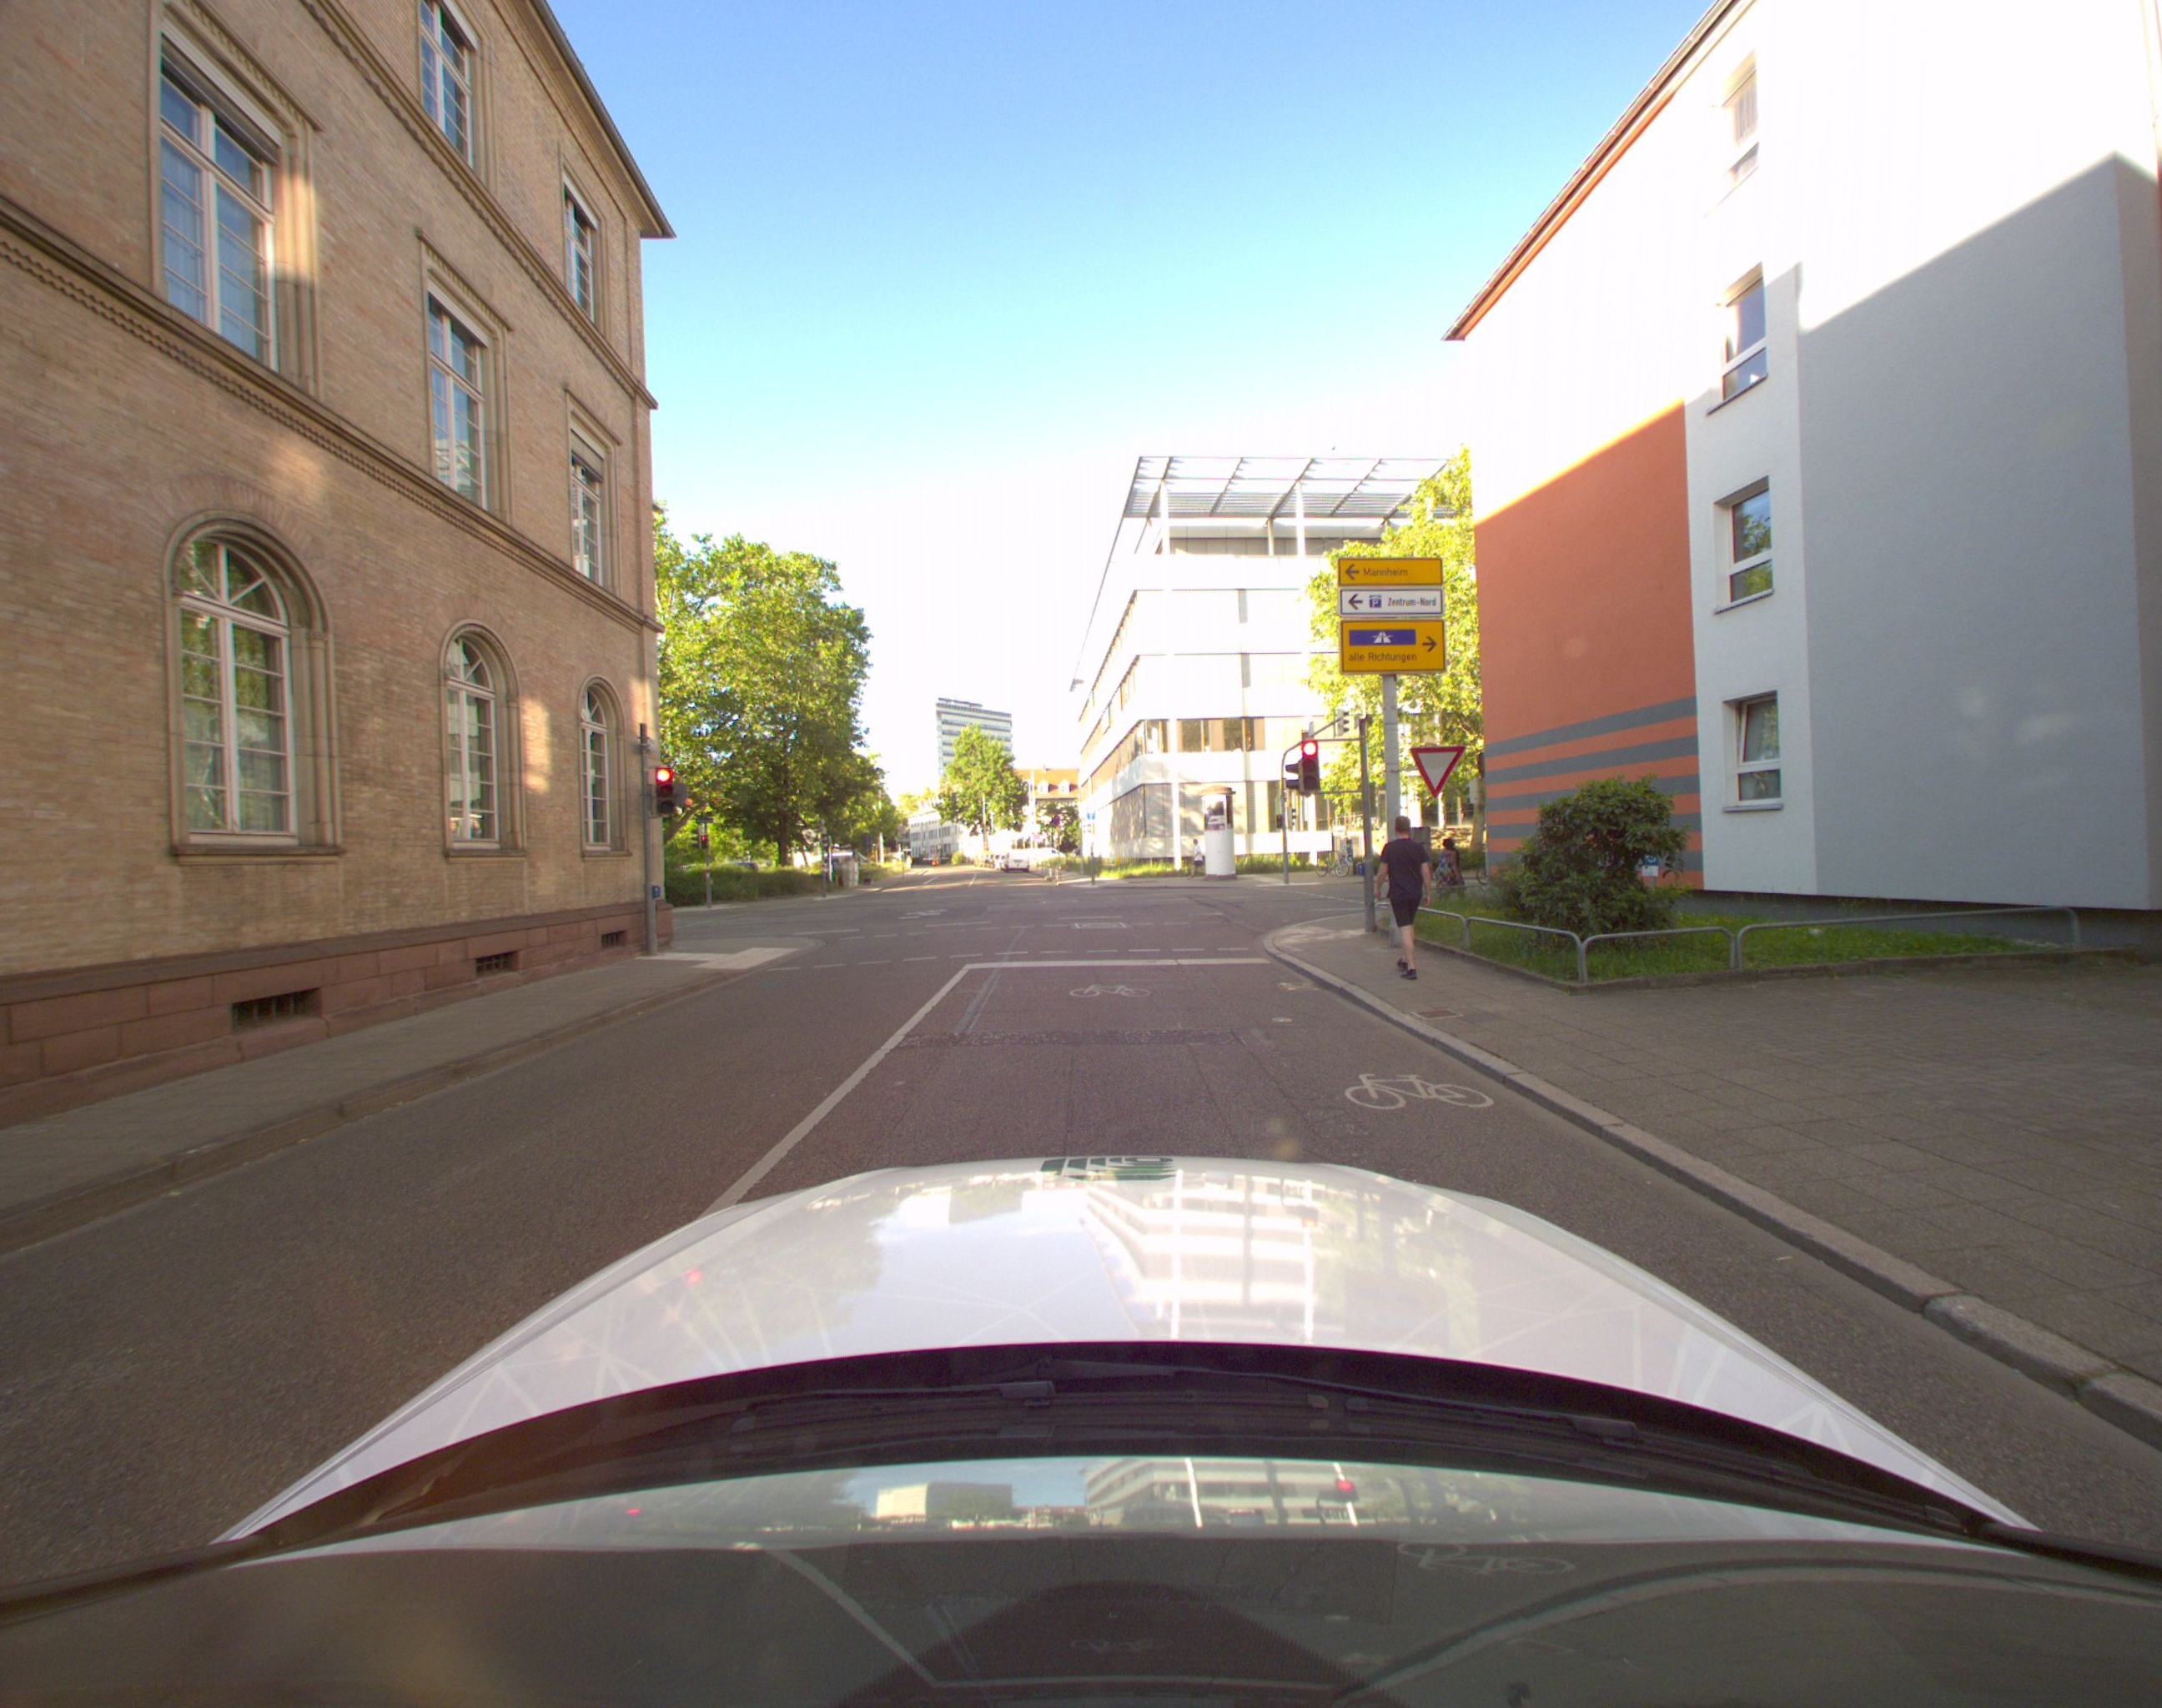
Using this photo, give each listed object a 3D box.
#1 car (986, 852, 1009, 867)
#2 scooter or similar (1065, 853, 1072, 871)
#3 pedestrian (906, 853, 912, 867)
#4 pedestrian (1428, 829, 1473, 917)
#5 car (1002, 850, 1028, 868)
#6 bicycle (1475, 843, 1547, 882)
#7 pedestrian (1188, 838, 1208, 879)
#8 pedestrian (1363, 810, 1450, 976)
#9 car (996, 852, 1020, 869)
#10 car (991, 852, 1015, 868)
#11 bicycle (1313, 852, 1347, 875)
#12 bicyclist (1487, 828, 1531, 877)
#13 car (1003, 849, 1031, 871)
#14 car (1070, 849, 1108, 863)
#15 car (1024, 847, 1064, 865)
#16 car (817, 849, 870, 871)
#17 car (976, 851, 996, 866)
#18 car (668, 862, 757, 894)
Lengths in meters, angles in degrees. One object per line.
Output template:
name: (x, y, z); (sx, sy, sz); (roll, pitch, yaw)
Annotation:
car: (-8.882, 0.590, 86.379); (1.994, 1.499, 4.635); (0, -1, -10)
scooter or similar: (-0.912, 0.578, 58.475); (0.436, 1.256, 1.418); (-2, 0, -2)
pedestrian: (-19.501, 0.651, 92.363); (0.700, 1.587, 0.633); (0, -1, -14)
pedestrian: (7.857, 0.390, 17.311); (0.693, 1.810, 0.724); (-1, -1, 39)
car: (-5.846, 0.478, 71.352); (1.993, 1.499, 4.638); (0, -1, -8)
bicycle: (13.793, 0.269, 26.149); (1.953, 1.152, 0.593); (-2, 0, 7)
pedestrian: (5.450, 0.206, 37.925); (0.909, 1.869, 0.744); (0, -1, 7)
pedestrian: (3.670, 0.428, 9.227); (0.697, 1.810, 0.720); (0, -1, 1)
car: (-6.918, 0.607, 77.153); (1.993, 1.499, 4.638); (0, -1, -8)
car: (-7.841, 0.584, 81.626); (1.994, 1.499, 4.270); (0, -1, -11)
bicycle: (11.008, 0.419, 36.026); (0.381, 1.008, 1.416); (-2, 0, -40)
bicyclist: (13.732, -0.044, 26.163); (1.069, 1.527, 0.593); (-2, 0, 7)
car: (-5.170, 0.466, 65.118); (1.992, 1.725, 4.640); (0, -1, -7)
car: (1.025, 0.252, 104.955); (4.644, 1.725, 1.990); (0, -1, -15)
car: (-4.681, 0.270, 103.249); (4.802, 2.159, 1.989); (0, -1, -16)
car: (-22.023, 0.532, 75.768); (4.441, 2.014, 1.995); (0, -1, -8)
car: (-11.299, 0.537, 96.303); (1.995, 1.725, 4.633); (0, -1, -11)
car: (-17.081, 1.095, 37.902); (3.407, 1.457, 1.646); (0, -1, -8)
